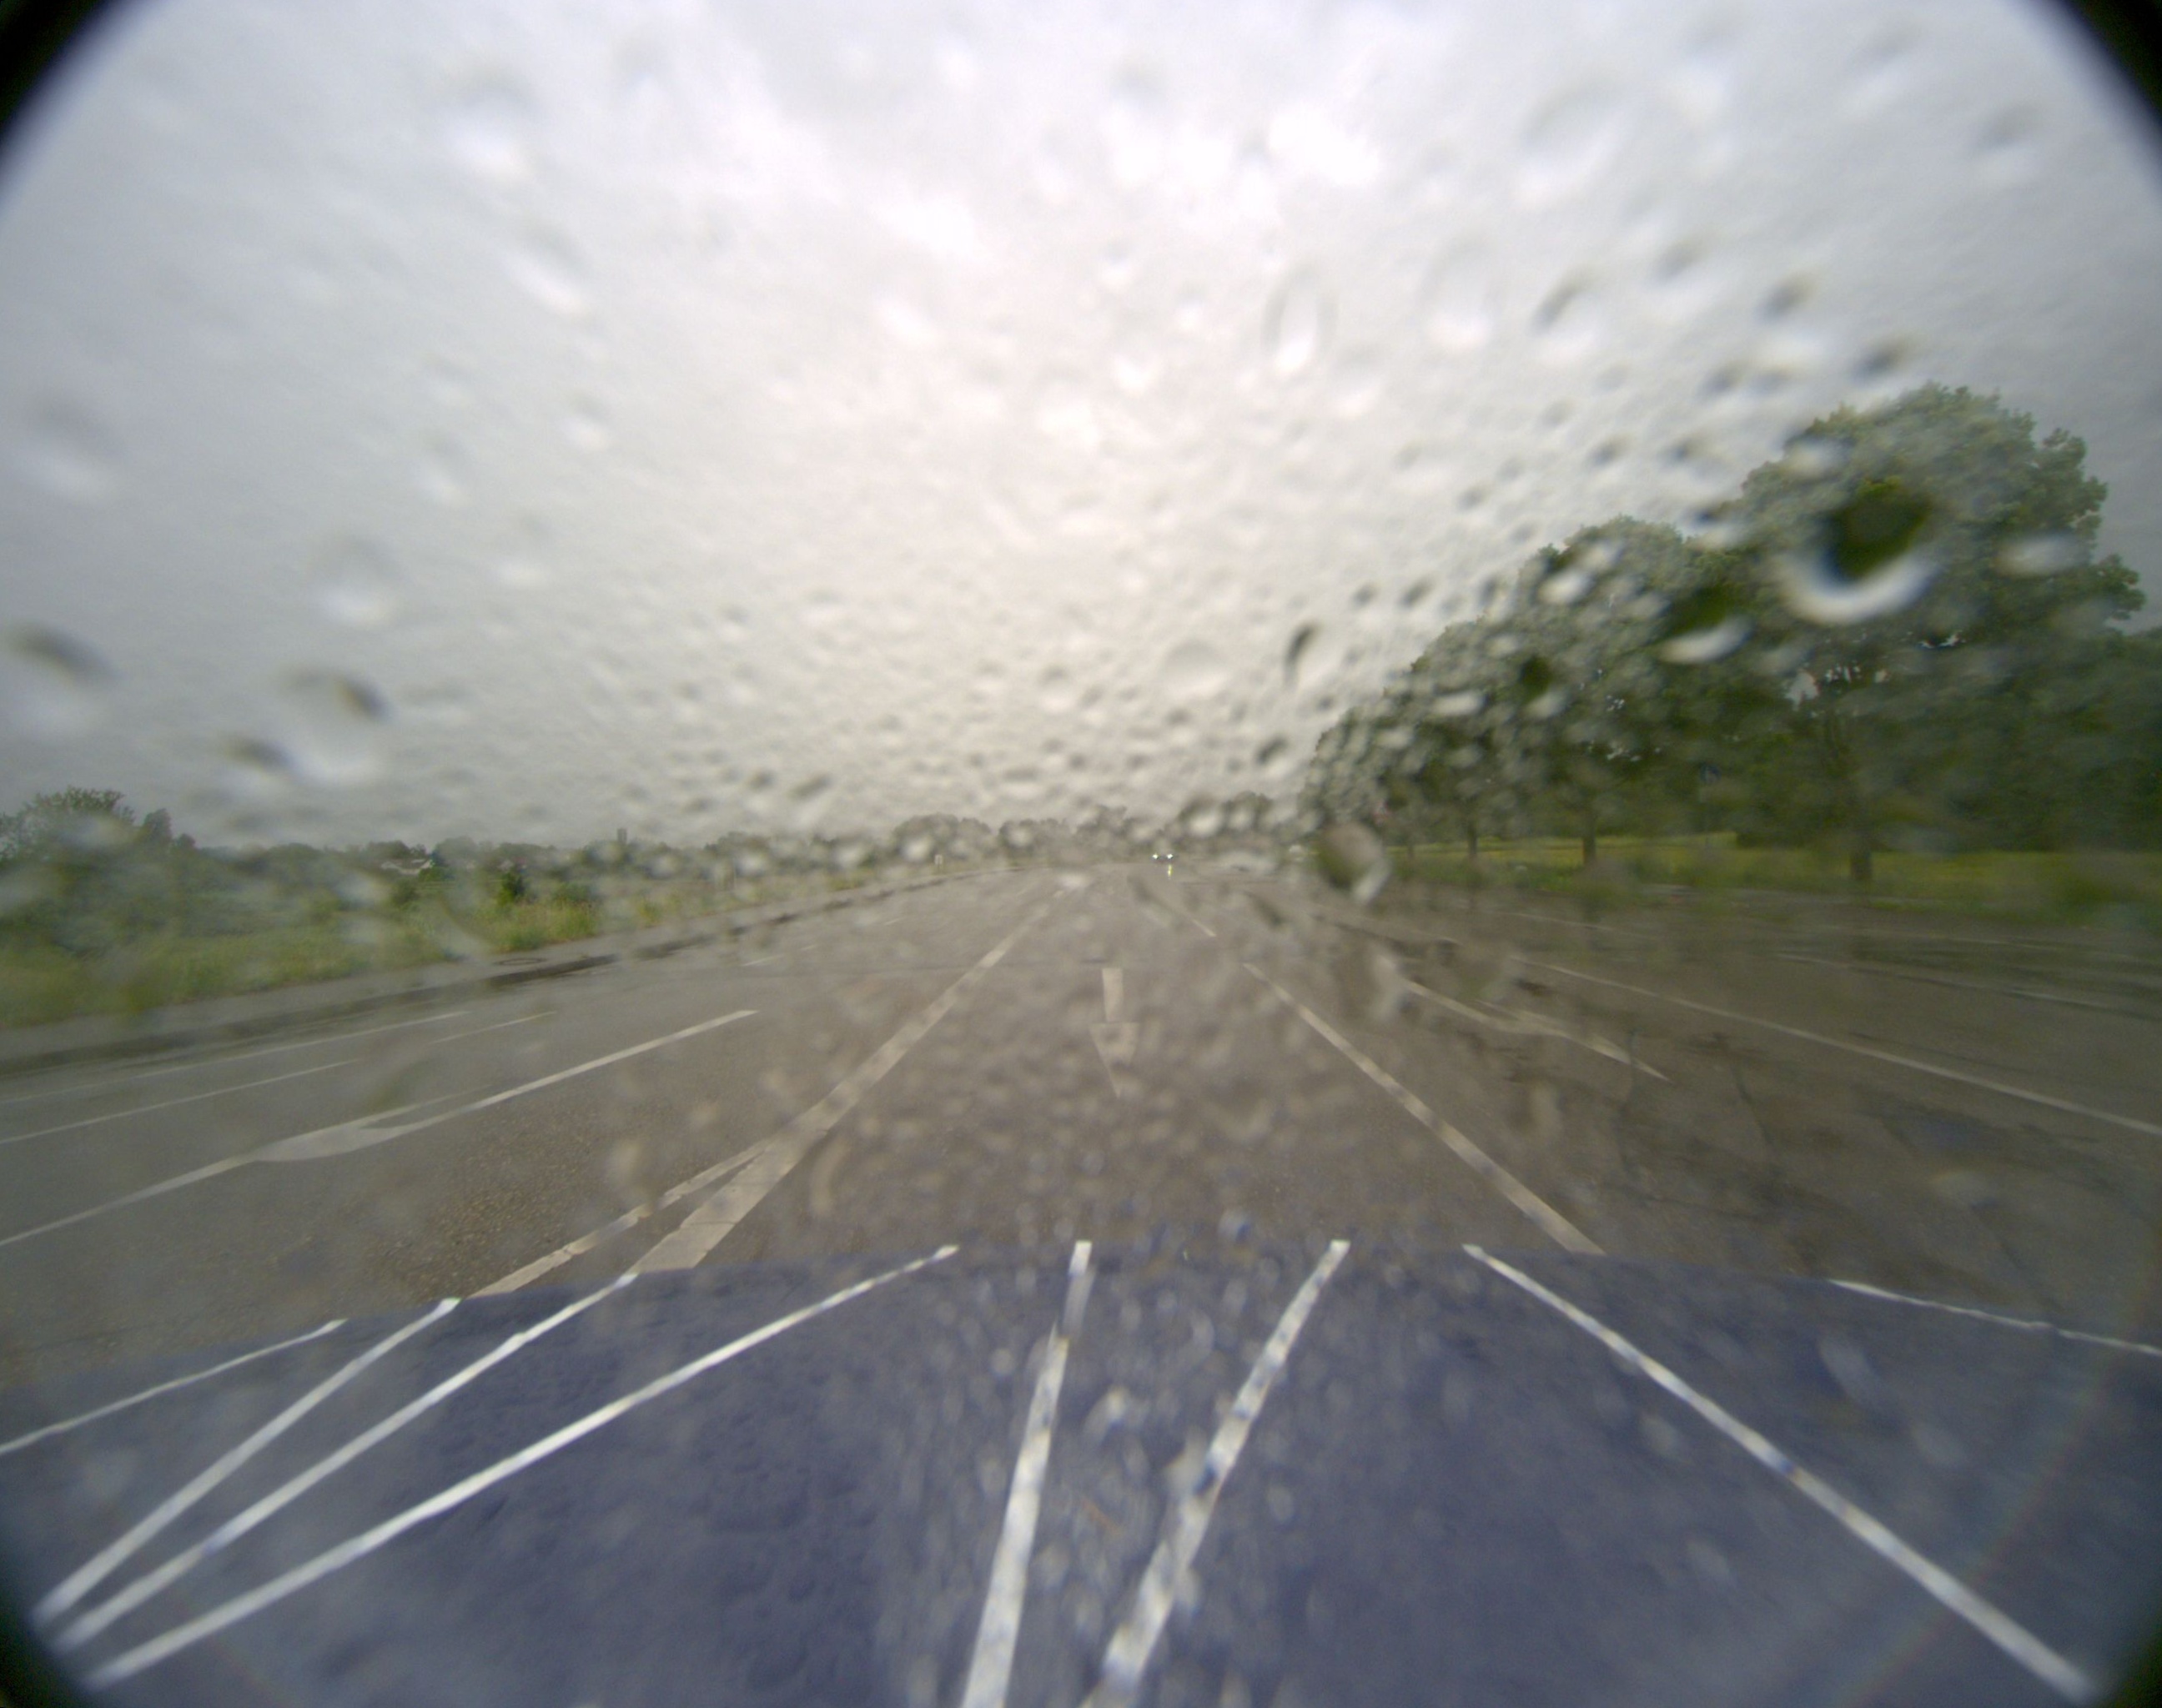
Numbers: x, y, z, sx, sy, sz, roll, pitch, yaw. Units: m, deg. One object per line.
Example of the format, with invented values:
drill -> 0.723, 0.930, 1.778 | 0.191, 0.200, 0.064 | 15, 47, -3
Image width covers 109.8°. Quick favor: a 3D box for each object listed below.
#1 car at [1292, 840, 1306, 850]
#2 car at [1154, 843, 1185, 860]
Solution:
car -> 42.264, -1.741, 147.265 | 2.108, 1.881, 4.798 | -1, 1, 23
car -> 8.966, -0.300, 76.788 | 1.913, 1.576, 4.109 | -1, 1, 23
